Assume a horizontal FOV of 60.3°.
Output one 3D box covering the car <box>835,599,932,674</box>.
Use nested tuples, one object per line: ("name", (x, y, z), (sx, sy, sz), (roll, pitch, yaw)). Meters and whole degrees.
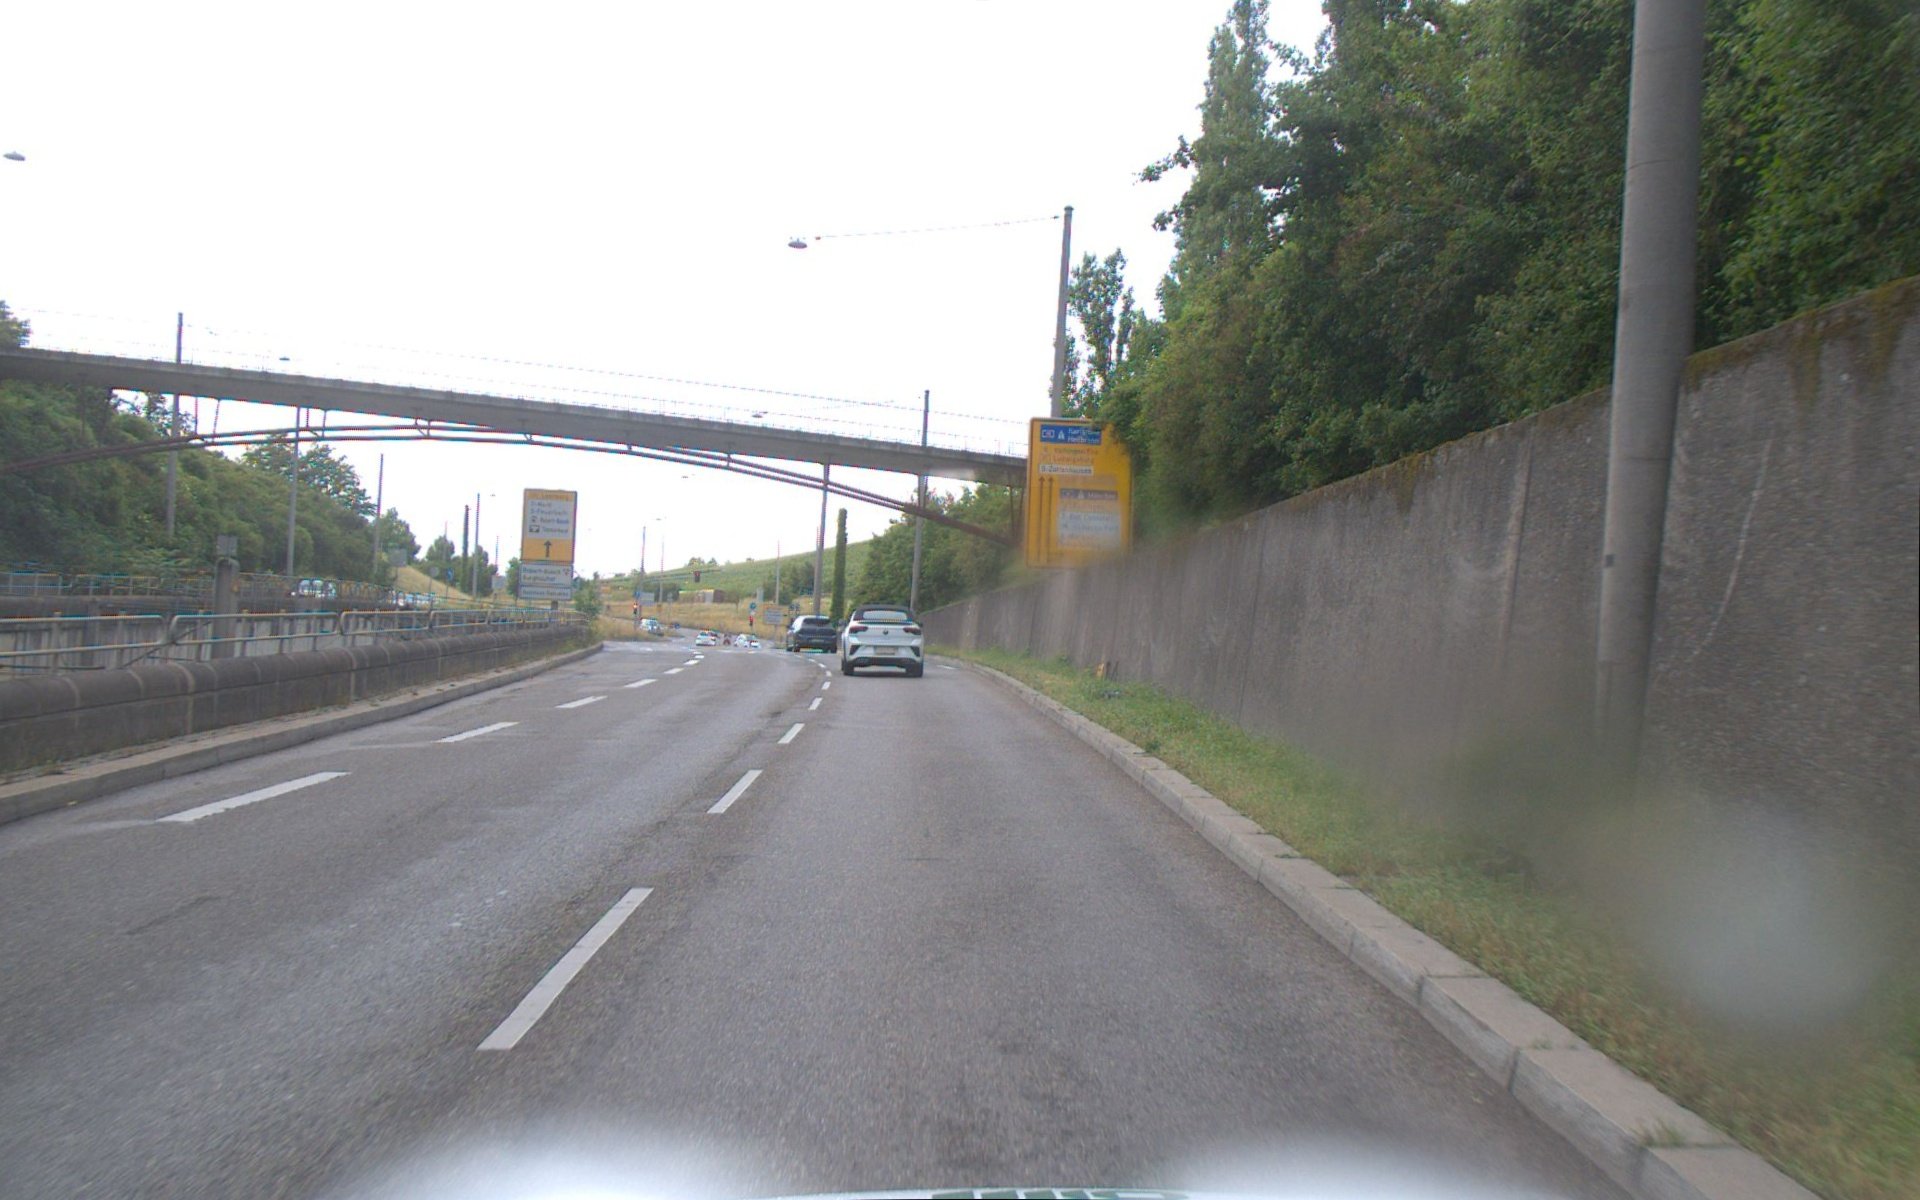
("car", (-1.791, 0.780, 37.374), (1.957, 1.606, 4.120), (1, 0, -6))

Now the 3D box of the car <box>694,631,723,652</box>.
("car", (-21.369, 3.576, 140.818), (1.739, 1.545, 3.724), (5, -3, 0))

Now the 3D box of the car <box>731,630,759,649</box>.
("car", (-20.225, 3.720, 155.746), (1.737, 1.545, 3.726), (5, -3, 5))

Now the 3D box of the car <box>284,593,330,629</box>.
("car", (-36.062, 0.636, 91.446), (1.642, 1.949, 4.544), (1, -1, -13))

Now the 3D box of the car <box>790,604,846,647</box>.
("car", (-5.771, 1.014, 66.962), (1.891, 1.627, 4.051), (1, 0, -10))
